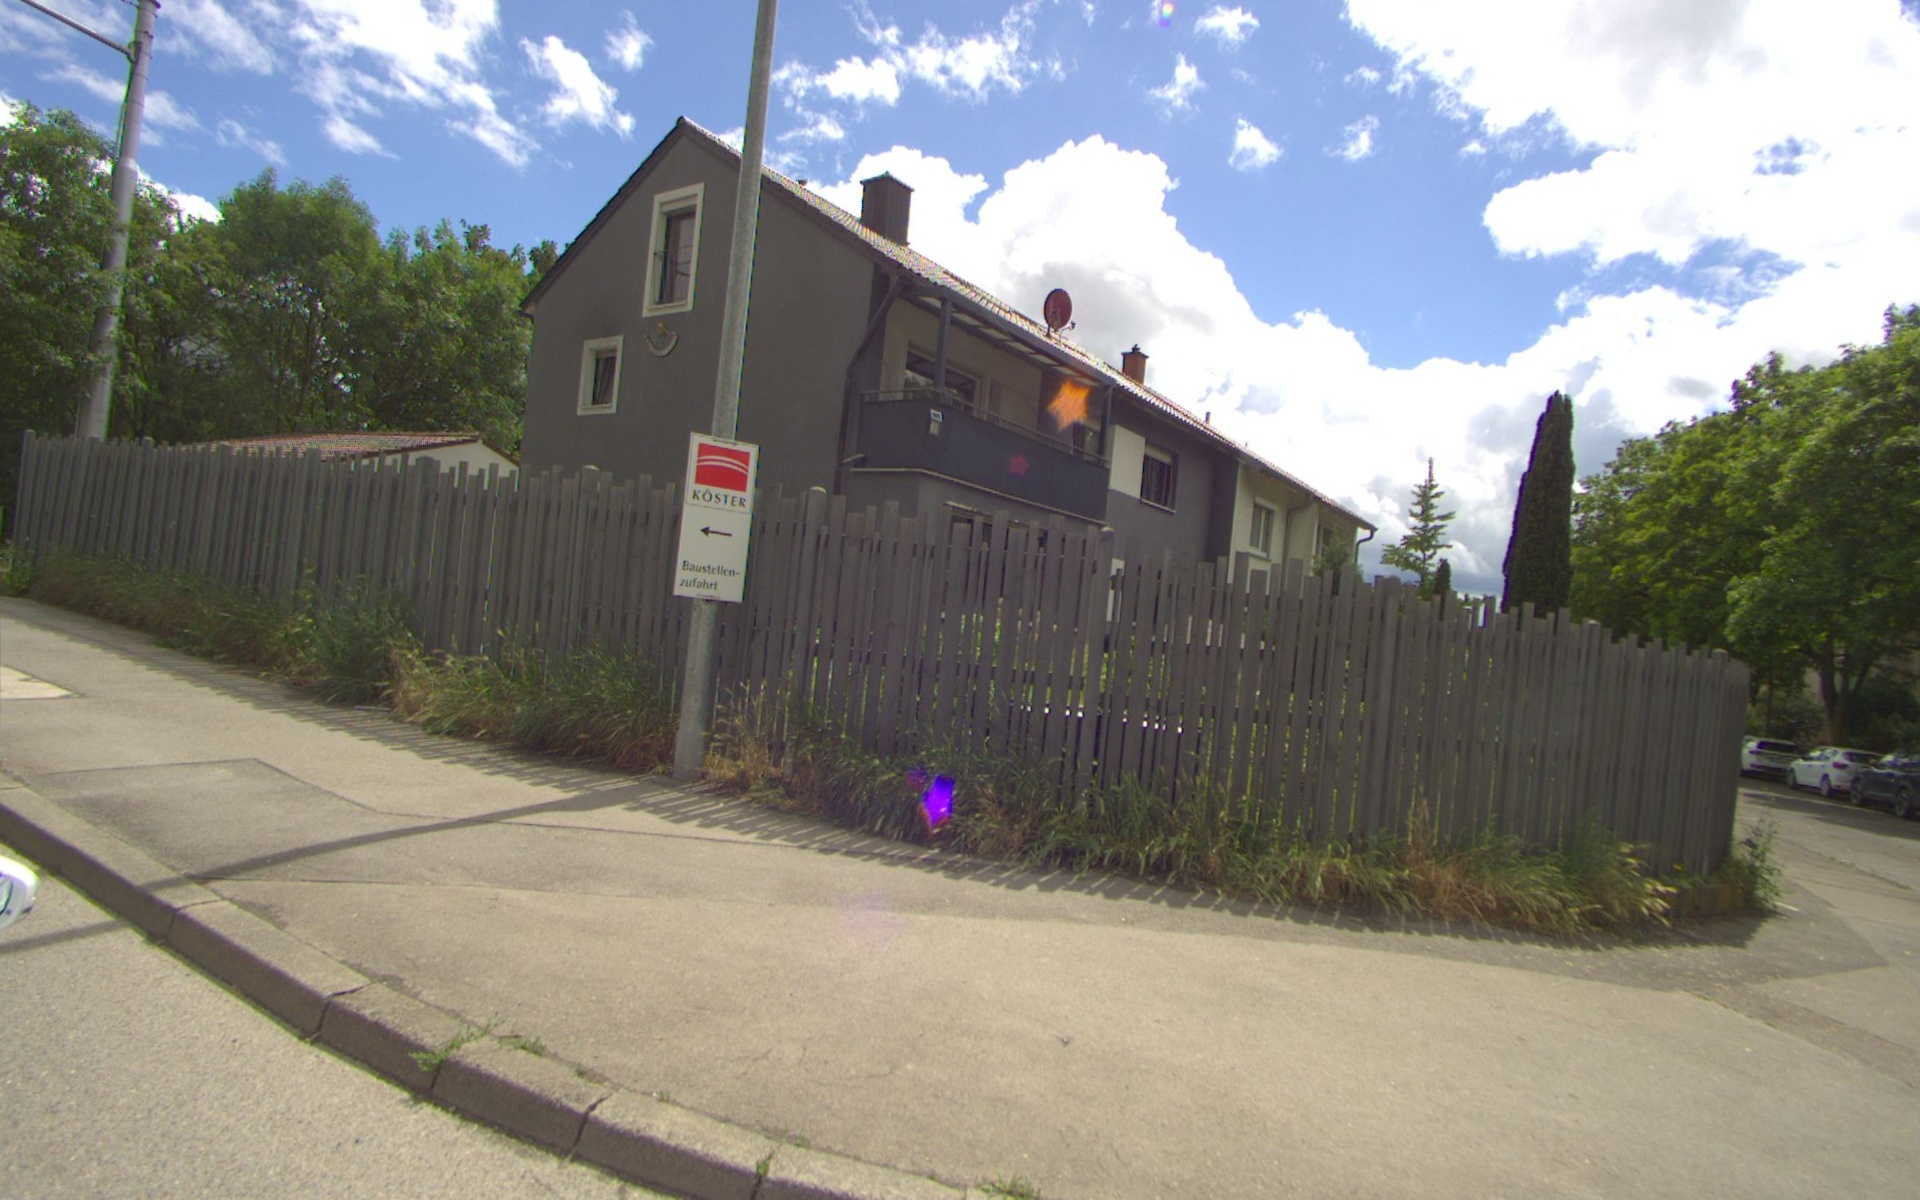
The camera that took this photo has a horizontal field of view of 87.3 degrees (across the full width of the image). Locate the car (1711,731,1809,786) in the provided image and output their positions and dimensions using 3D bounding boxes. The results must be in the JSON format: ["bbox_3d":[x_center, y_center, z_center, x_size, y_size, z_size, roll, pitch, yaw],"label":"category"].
[{"bbox_3d":[28.533,5.627,36.008,1.568,1.427,3.959,6,-2,23],"label":"car"}]

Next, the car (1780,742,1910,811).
[{"bbox_3d":[26.011,5.132,29.722,1.568,1.427,3.959,6,-2,23],"label":"car"}]

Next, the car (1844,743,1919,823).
[{"bbox_3d":[23.898,4.604,24.986,1.568,1.639,3.959,6,-1,23],"label":"car"}]
